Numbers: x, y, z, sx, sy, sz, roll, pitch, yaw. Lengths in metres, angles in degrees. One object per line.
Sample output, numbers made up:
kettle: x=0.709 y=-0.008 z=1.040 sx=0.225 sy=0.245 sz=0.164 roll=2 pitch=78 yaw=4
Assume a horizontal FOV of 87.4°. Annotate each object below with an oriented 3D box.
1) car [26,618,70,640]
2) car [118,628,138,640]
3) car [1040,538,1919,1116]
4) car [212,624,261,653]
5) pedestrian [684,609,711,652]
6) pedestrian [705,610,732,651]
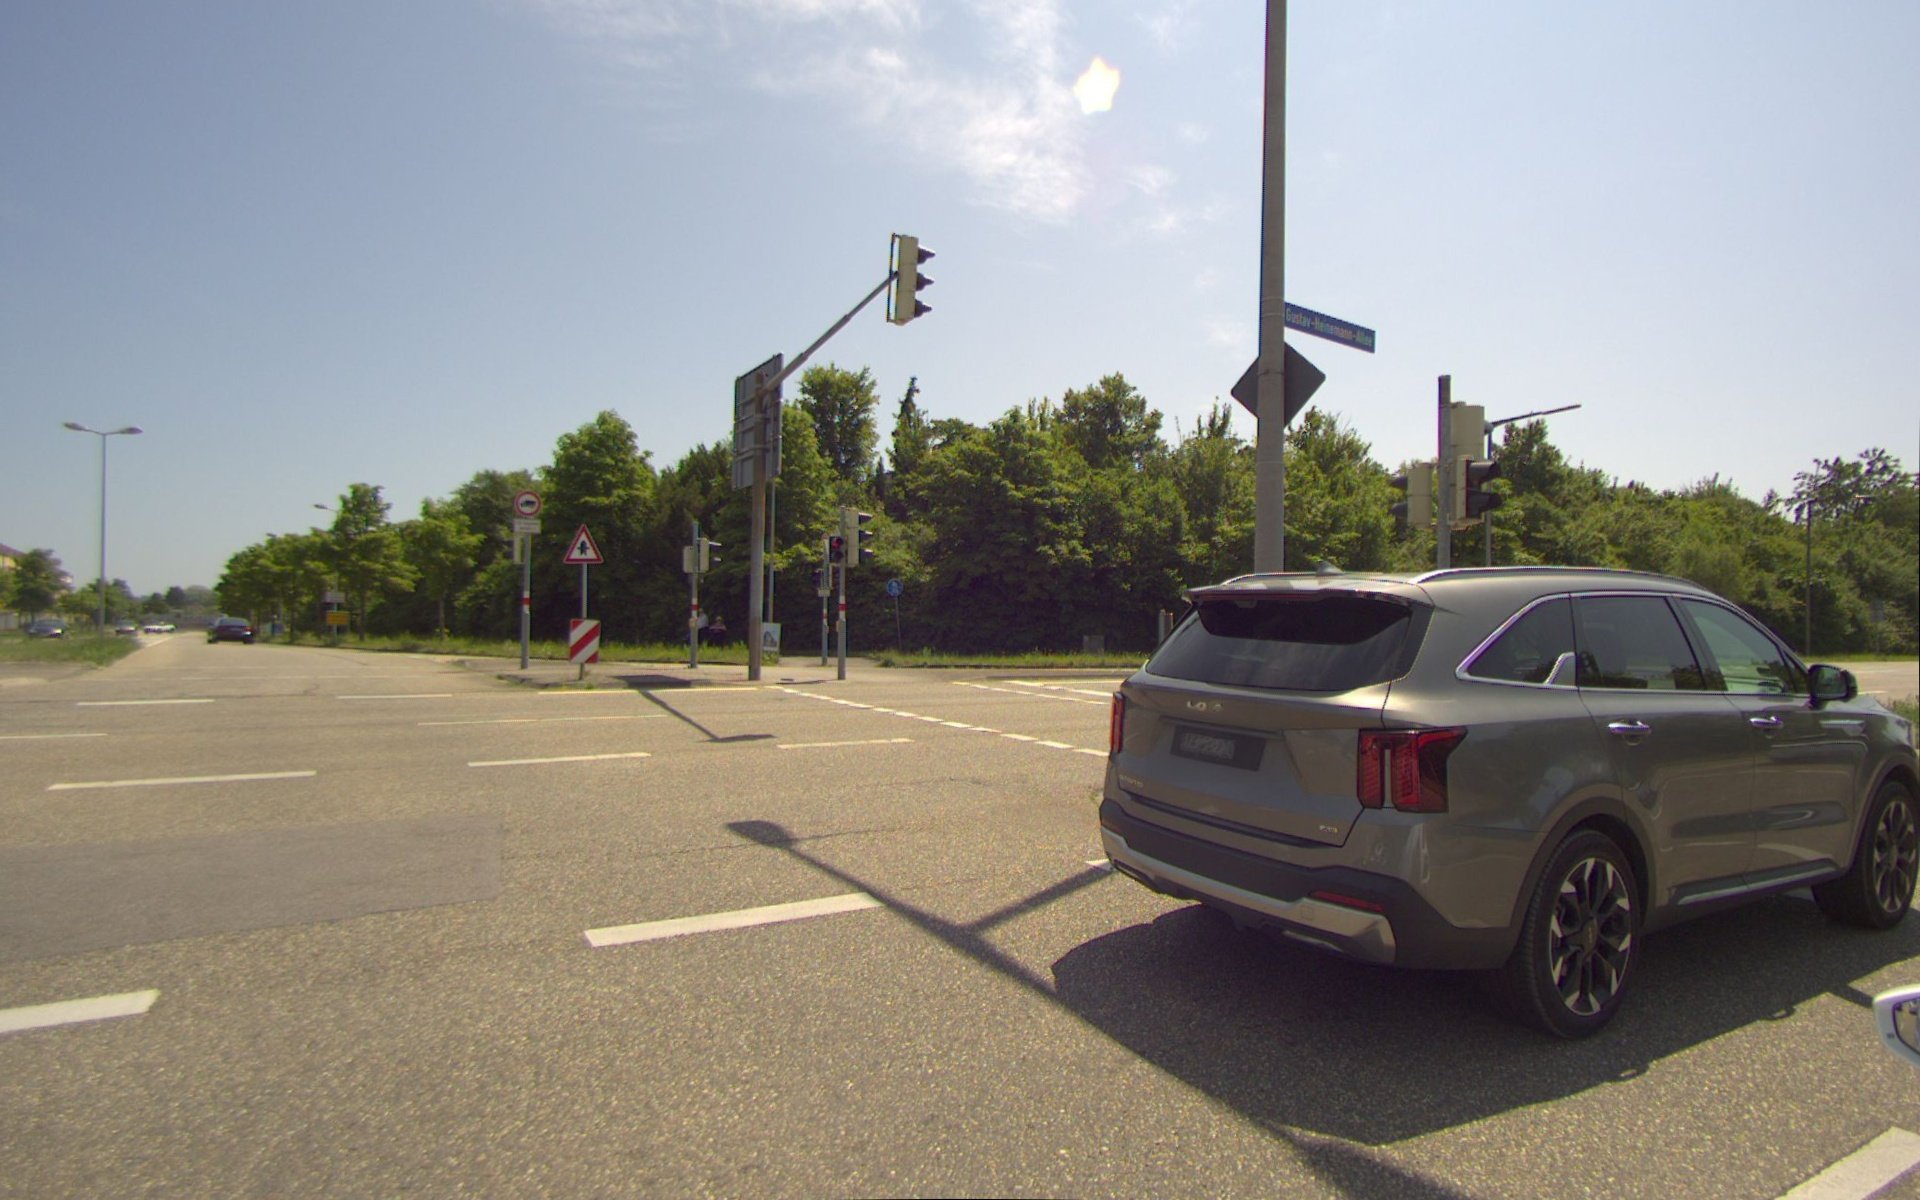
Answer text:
car: x=-60.526 y=1.908 z=66.722 sx=1.617 sy=1.379 sz=3.961 roll=1 pitch=-2 yaw=-35
car: x=-91.901 y=3.749 z=111.017 sx=1.278 sy=1.139 sz=3.180 roll=2 pitch=0 yaw=-32
car: x=2.795 y=0.731 z=4.863 sx=4.588 sy=1.684 sz=1.796 roll=2 pitch=-1 yaw=-30
car: x=-38.146 y=1.990 z=52.951 sx=1.728 sy=1.439 sz=3.952 roll=2 pitch=-2 yaw=-41
pedestrian: x=-10.052 y=1.174 z=38.526 sx=0.606 sy=1.624 sz=0.798 roll=0 pitch=-1 yaw=25
pedestrian: x=-9.161 y=1.153 z=38.079 sx=0.606 sy=1.523 sz=0.798 roll=0 pitch=-1 yaw=25
